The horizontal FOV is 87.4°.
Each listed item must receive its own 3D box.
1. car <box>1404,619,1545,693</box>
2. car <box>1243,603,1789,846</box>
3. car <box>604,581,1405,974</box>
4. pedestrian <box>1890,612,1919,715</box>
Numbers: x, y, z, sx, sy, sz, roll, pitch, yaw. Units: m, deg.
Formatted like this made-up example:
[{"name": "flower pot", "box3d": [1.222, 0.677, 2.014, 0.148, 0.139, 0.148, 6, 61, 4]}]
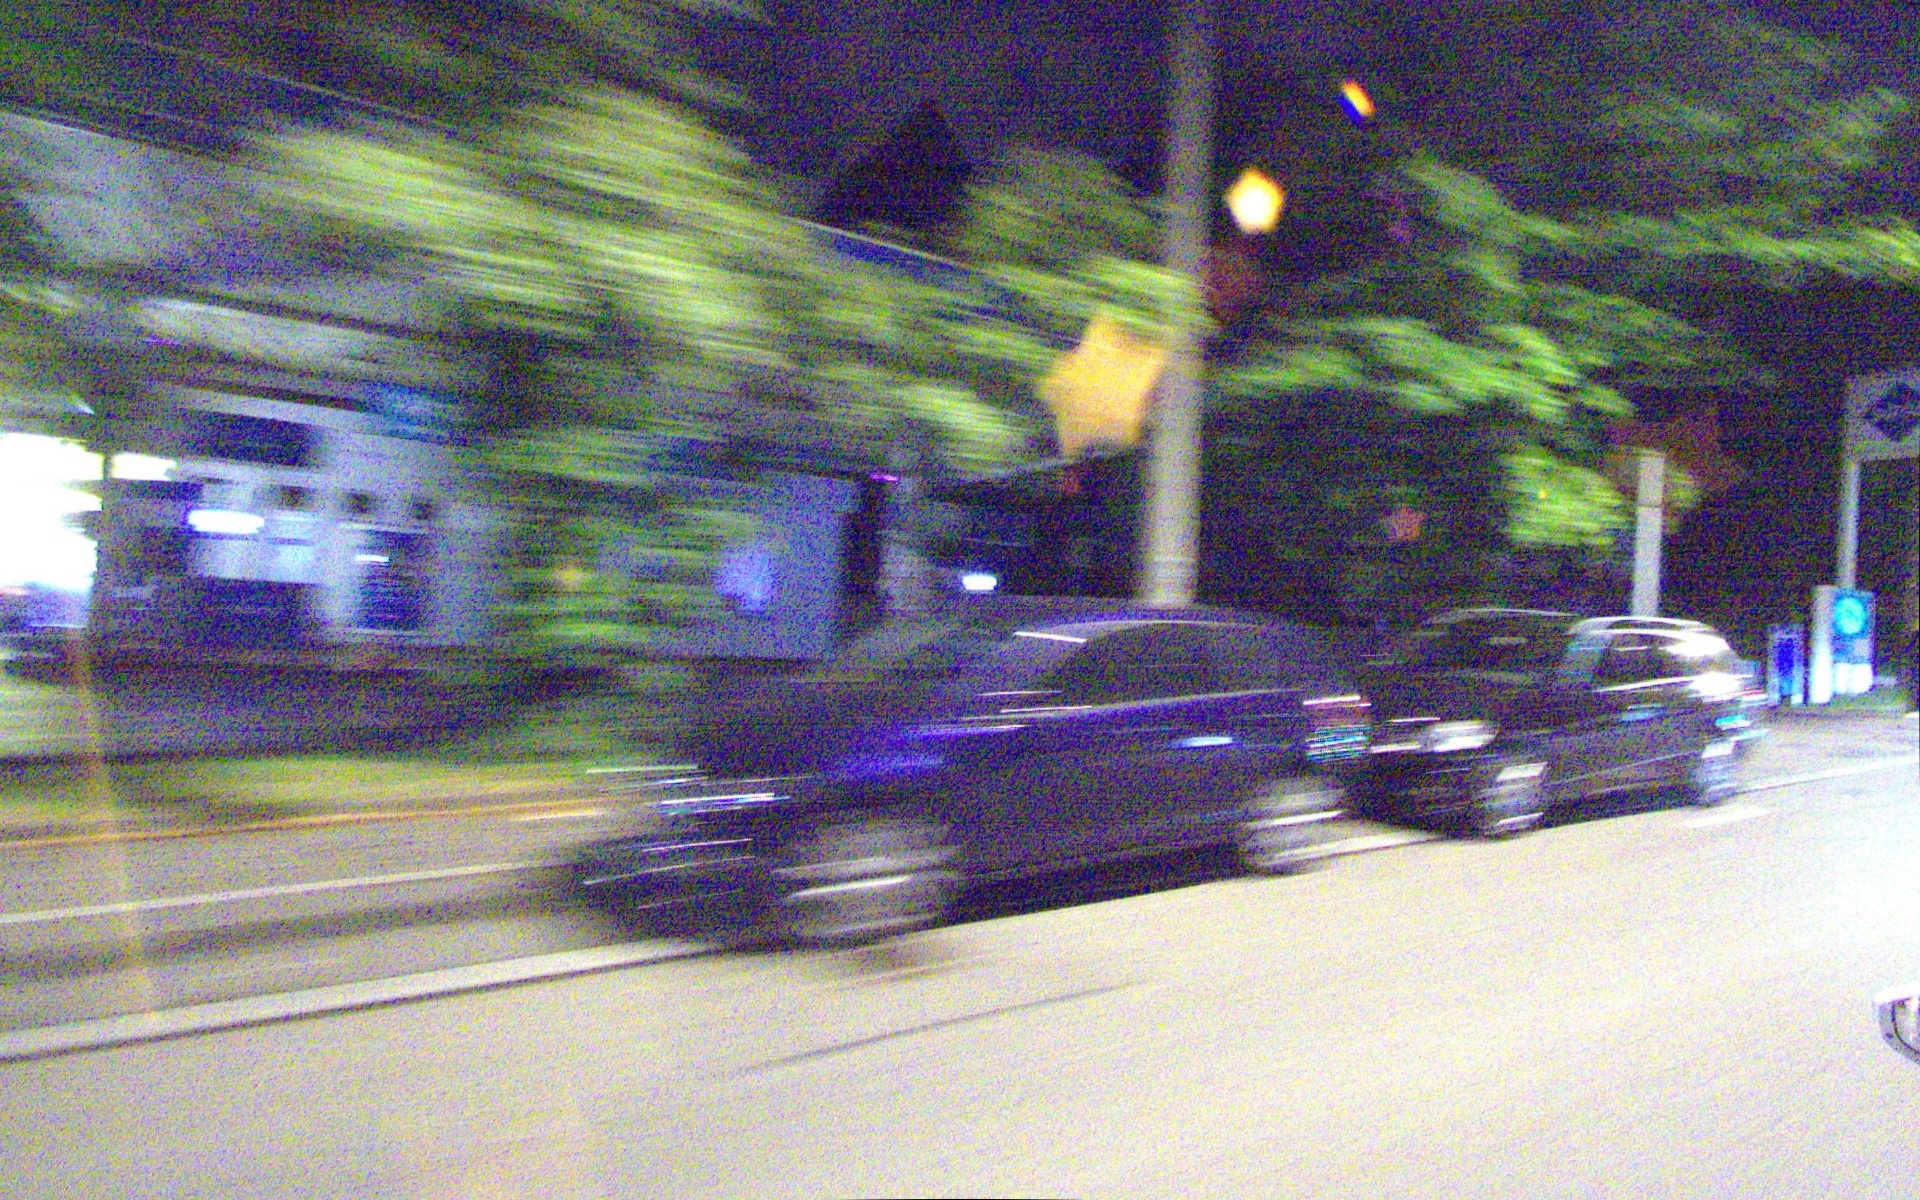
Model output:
[{"name": "car", "box3d": [11.989, 1.257, 23.634, 1.758, 1.472, 3.268, 3, 0, 4]}, {"name": "car", "box3d": [4.638, 0.797, 8.141, 4.755, 1.457, 1.712, 1, 1, -31]}, {"name": "car", "box3d": [0.364, 0.696, 5.542, 4.142, 1.457, 1.712, 1, 1, -30]}, {"name": "pedestrian", "box3d": [16.354, 1.084, 17.145, 0.526, 1.722, 0.576, 2, 0, -37]}]
